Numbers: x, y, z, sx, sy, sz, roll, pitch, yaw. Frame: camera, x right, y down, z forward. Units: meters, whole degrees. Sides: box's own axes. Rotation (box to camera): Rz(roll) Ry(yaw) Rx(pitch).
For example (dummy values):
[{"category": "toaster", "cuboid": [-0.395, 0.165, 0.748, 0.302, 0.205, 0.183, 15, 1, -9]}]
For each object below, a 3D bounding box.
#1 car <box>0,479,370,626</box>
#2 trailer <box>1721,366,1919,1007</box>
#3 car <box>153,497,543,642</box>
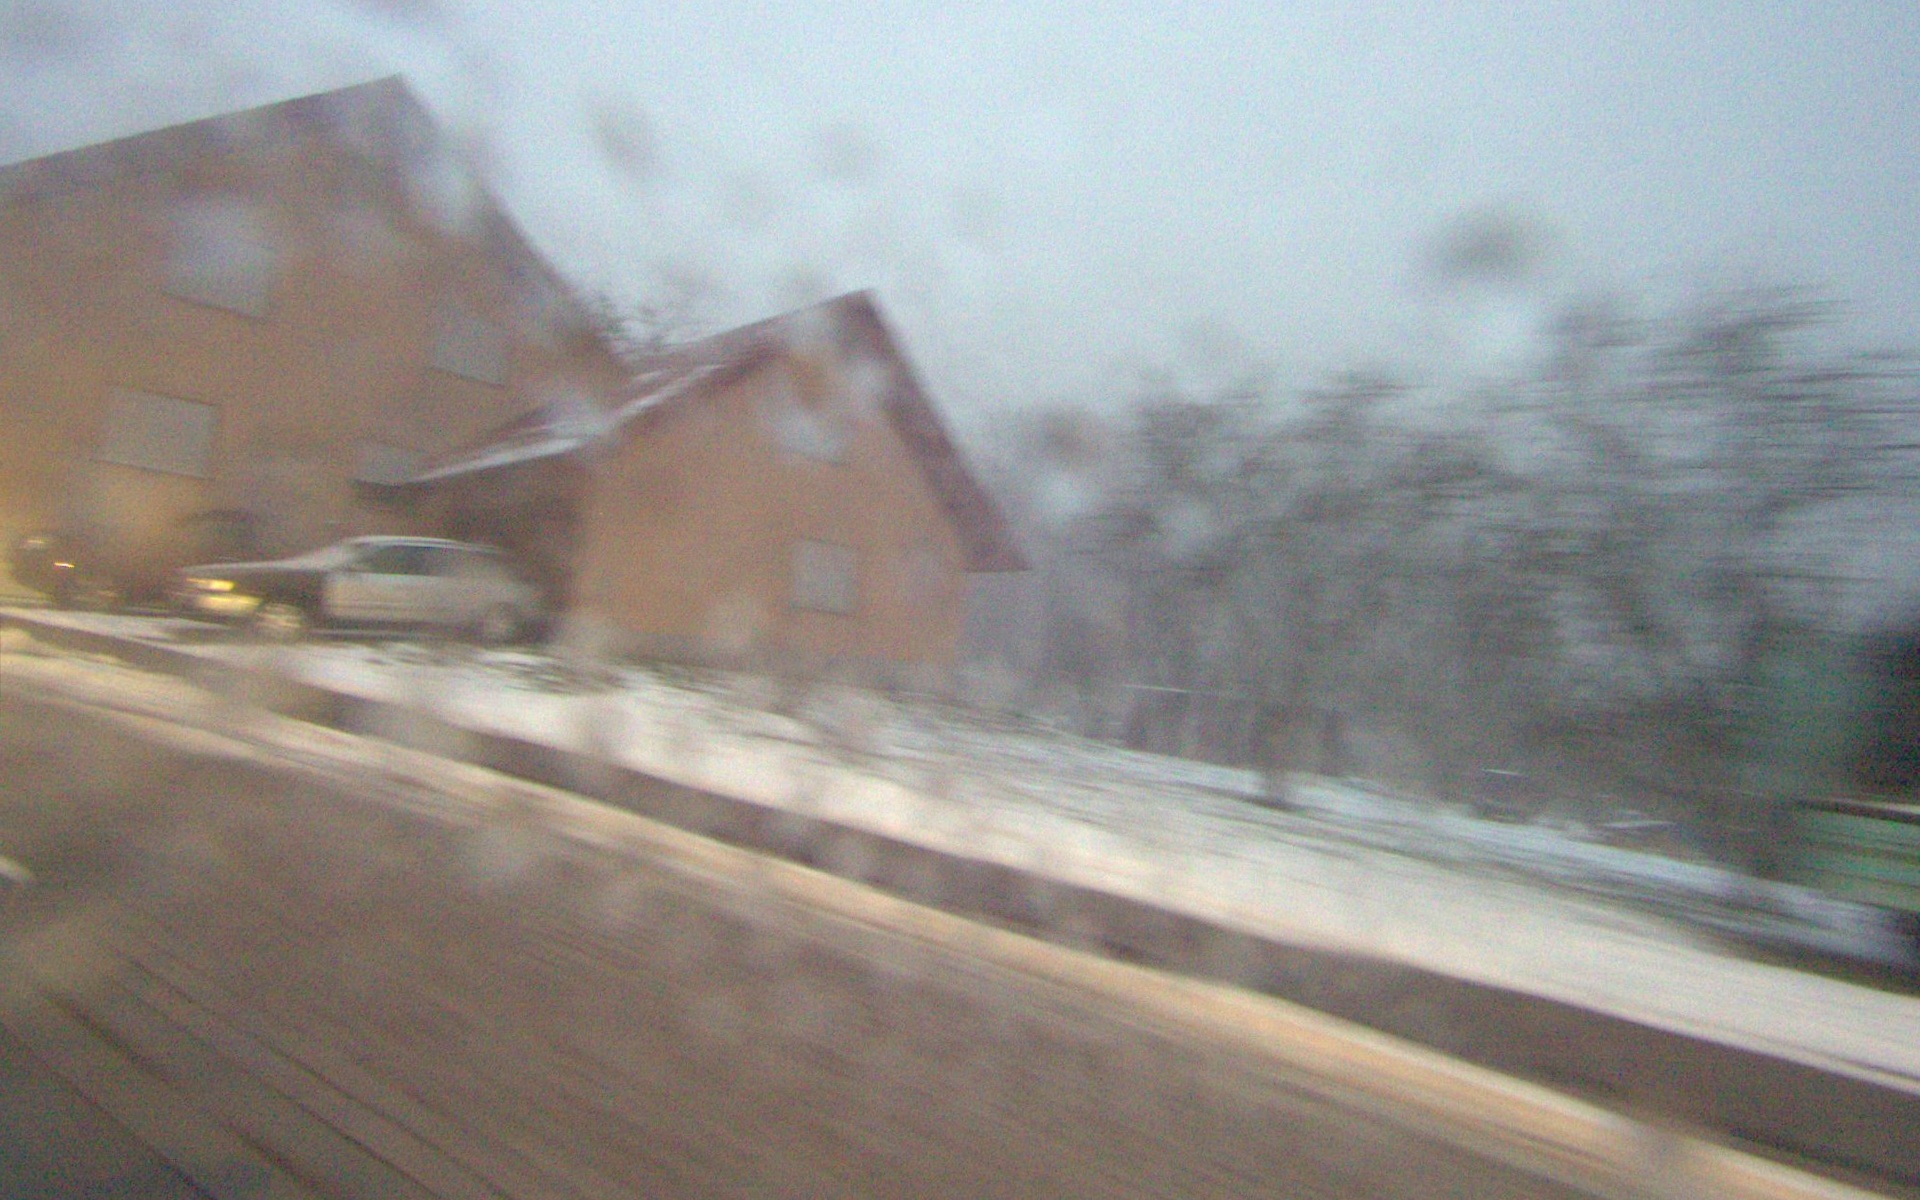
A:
[{"category": "car", "cuboid": [-11.327, -0.588, 14.743, 1.918, 1.577, 4.156, 3, -3, 38]}, {"category": "trailer", "cuboid": [7.789, 0.749, 5.788, 4.982, 3.601, 2.879, 5, -2, 34]}, {"category": "car", "cuboid": [-8.327, -0.318, 13.957, 1.975, 1.578, 4.230, 3, -1, 43]}]
